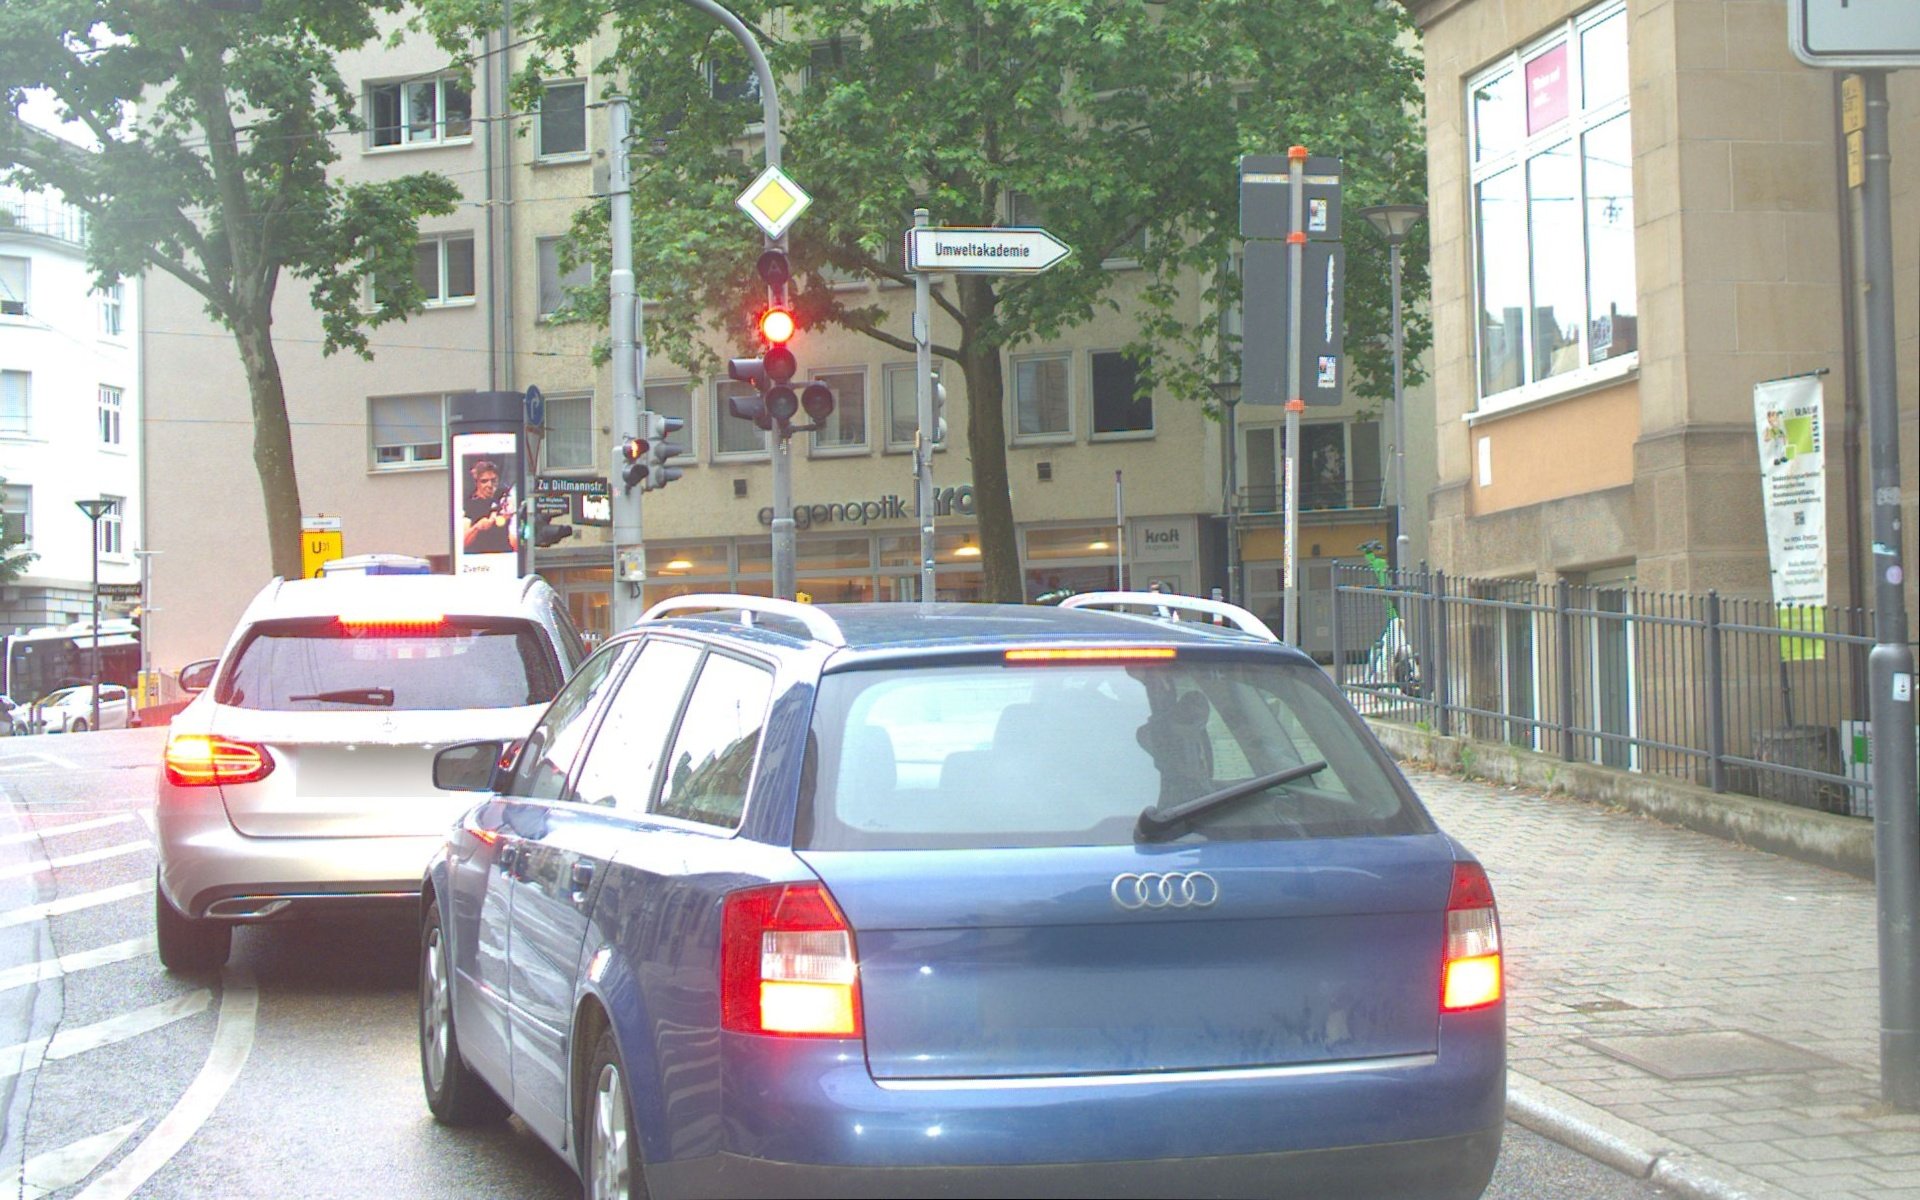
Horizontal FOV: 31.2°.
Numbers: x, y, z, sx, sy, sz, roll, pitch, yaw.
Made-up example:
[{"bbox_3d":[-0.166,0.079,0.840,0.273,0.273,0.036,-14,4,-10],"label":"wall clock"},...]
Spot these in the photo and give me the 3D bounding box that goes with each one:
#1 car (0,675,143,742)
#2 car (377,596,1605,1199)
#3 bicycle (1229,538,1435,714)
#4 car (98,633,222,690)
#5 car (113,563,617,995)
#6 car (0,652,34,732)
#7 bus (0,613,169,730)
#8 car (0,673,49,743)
[{"bbox_3d":[-23.029,2.787,89.067,1.796,1.505,3.997,-1,1,17],"label":"car"},{"bbox_3d":[-0.231,0.732,7.916,1.710,1.410,4.037,0,1,-17],"label":"car"},{"bbox_3d":[2.639,0.176,24.438,1.300,1.169,0.526,-3,1,-12],"label":"bicycle"},{"bbox_3d":[-23.879,1.831,102.723,1.796,1.505,3.997,-1,1,17],"label":"car"},{"bbox_3d":[-2.280,0.592,13.604,1.710,1.451,3.554,0,1,-8],"label":"car"},{"bbox_3d":[-19.941,1.897,68.677,1.794,1.505,4.000,-4,1,-1],"label":"car"},{"bbox_3d":[-25.231,1.925,95.006,2.856,2.851,8.728,-1,1,14],"label":"bus"},{"bbox_3d":[-24.222,2.702,84.220,1.796,1.609,3.997,-1,1,17],"label":"car"}]
